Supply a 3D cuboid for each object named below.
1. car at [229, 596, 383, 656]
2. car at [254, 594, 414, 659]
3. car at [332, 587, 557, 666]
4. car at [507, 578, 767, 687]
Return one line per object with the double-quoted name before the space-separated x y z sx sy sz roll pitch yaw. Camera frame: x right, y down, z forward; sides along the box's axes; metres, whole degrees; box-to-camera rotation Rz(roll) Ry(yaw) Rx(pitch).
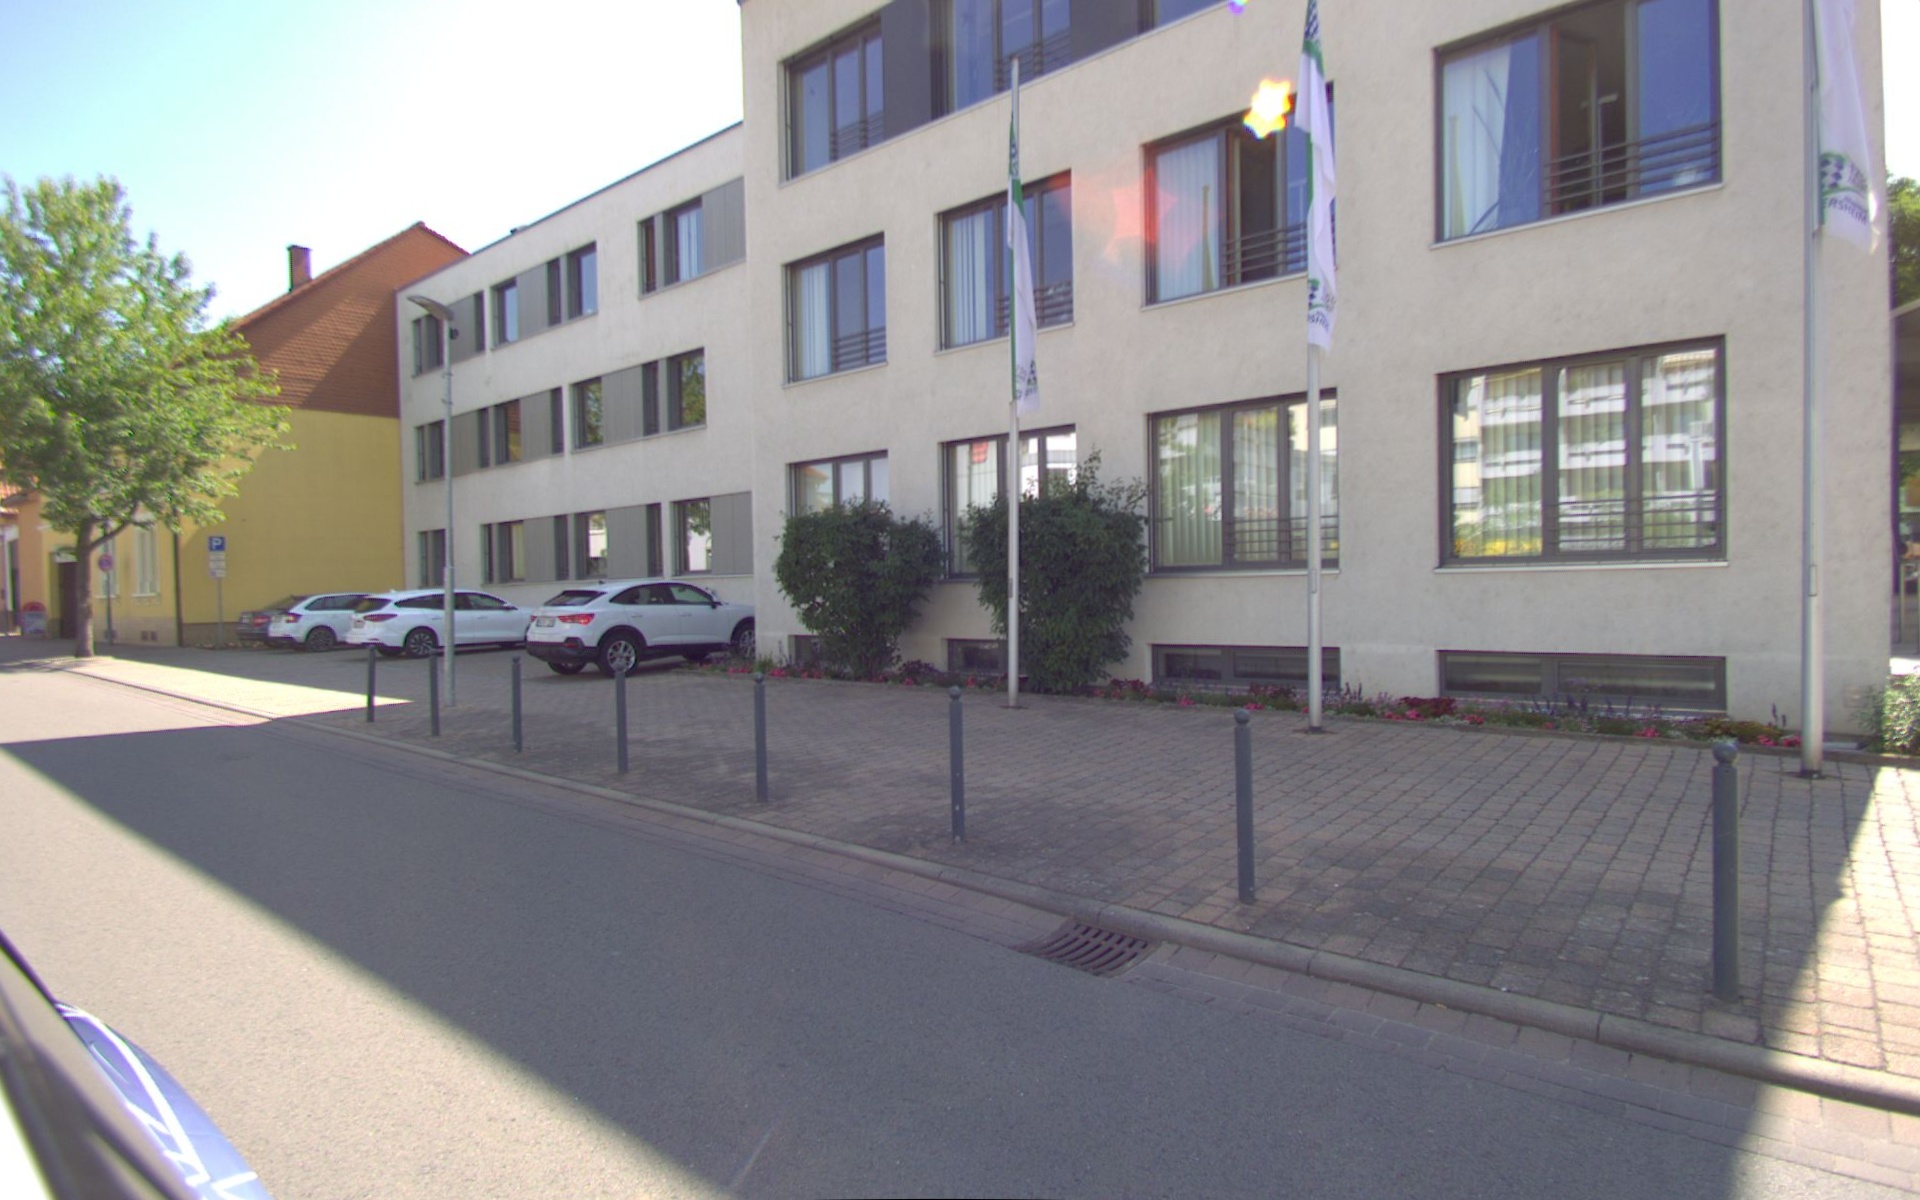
"car" -17.614 0.667 27.358 1.373 1.412 3.218 -1 2 38
"car" -15.961 0.631 25.892 1.642 1.461 3.099 -1 2 41
"car" -11.598 0.534 23.024 1.512 1.490 4.270 0 2 40
"car" -5.457 0.470 17.490 1.747 1.559 3.949 -1 2 38
